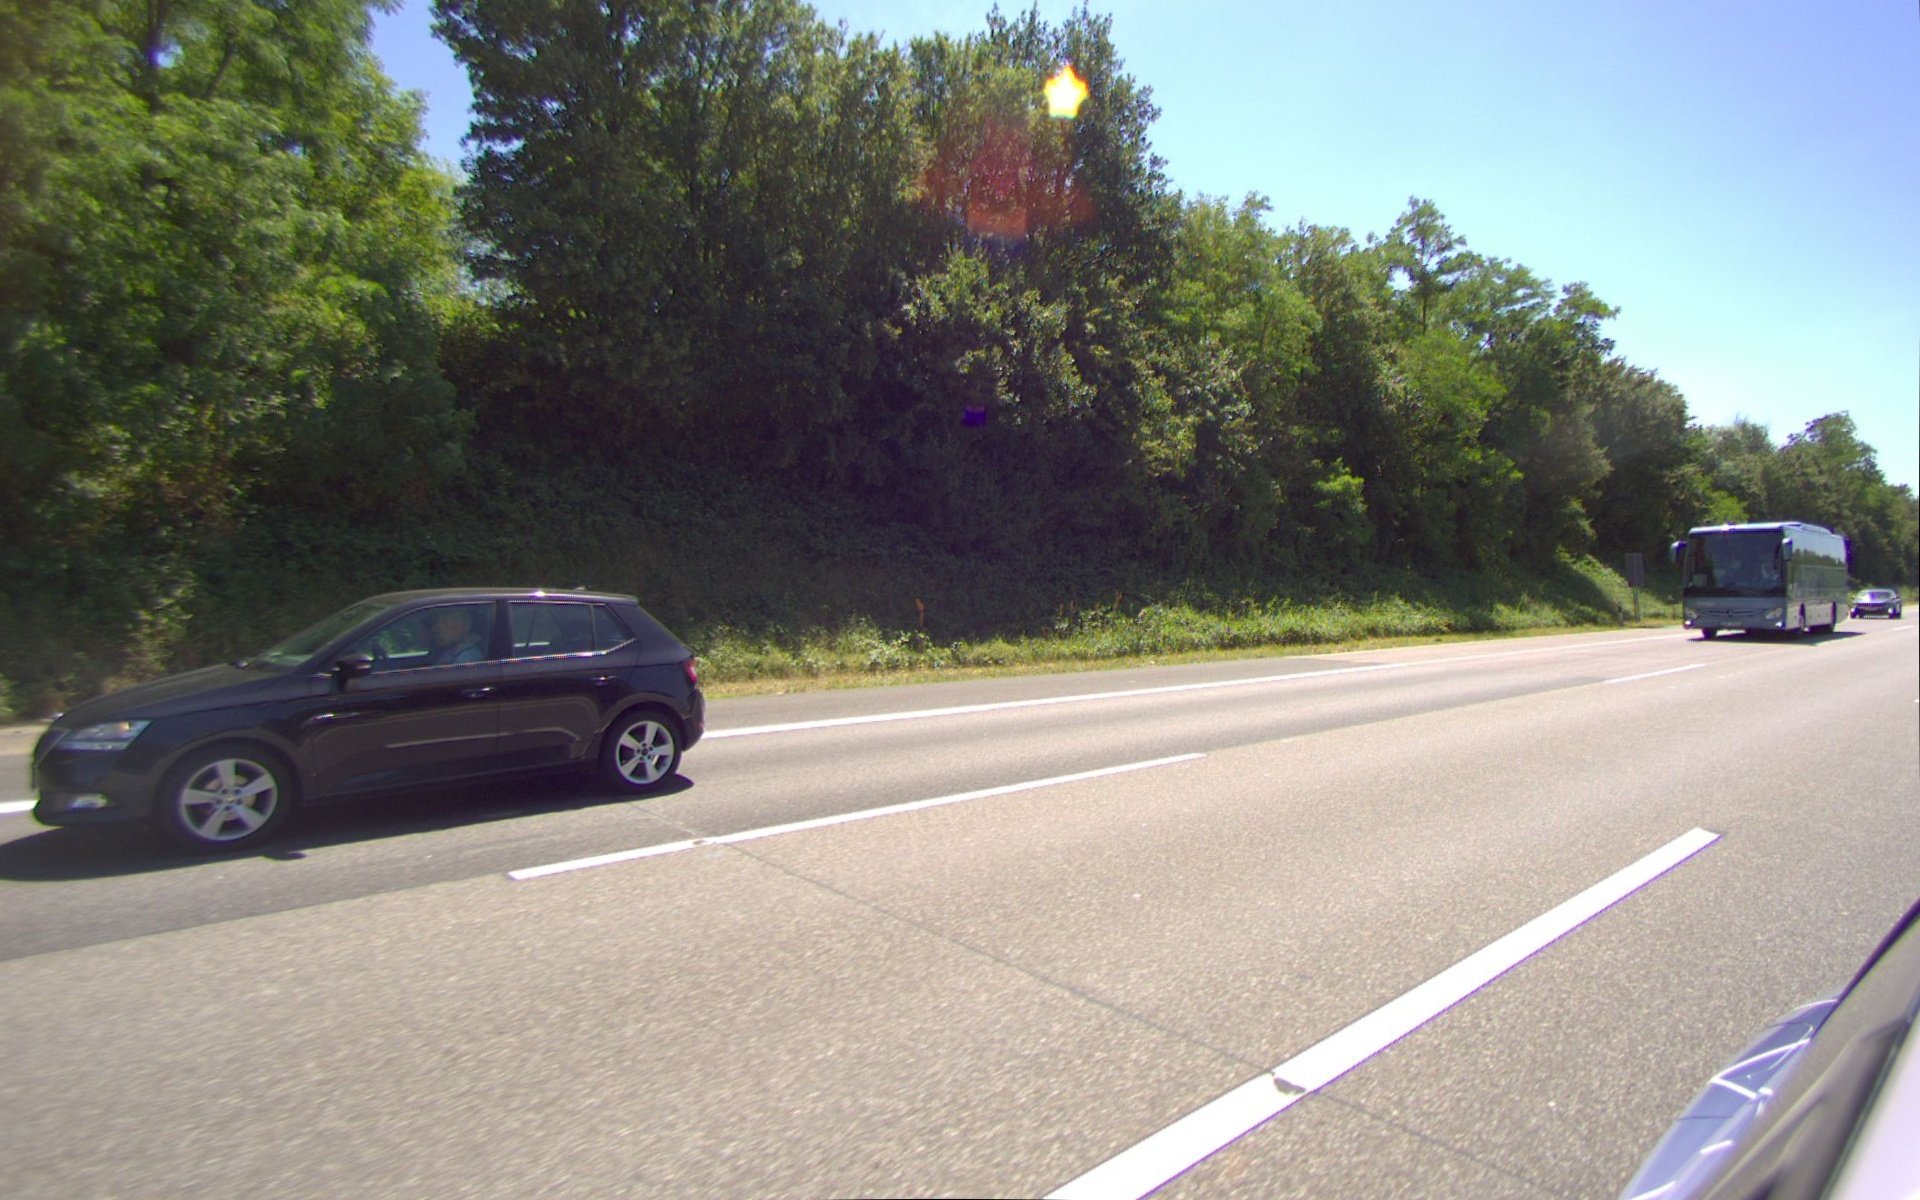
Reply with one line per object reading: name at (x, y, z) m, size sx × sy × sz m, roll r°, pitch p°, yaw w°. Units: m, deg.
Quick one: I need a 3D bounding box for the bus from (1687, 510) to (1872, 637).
bus at (27.859, -0.890, 34.011) m, size 13.446 × 3.597 × 2.614 m, roll -1°, pitch 1°, yaw -41°

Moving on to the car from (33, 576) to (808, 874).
car at (-3.436, 0.579, 7.138) m, size 4.495 × 1.465 × 1.672 m, roll -1°, pitch 1°, yaw -41°

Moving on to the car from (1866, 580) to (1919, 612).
car at (49.436, -0.235, 53.500) m, size 3.931 × 1.636 × 1.813 m, roll -1°, pitch 1°, yaw -41°
